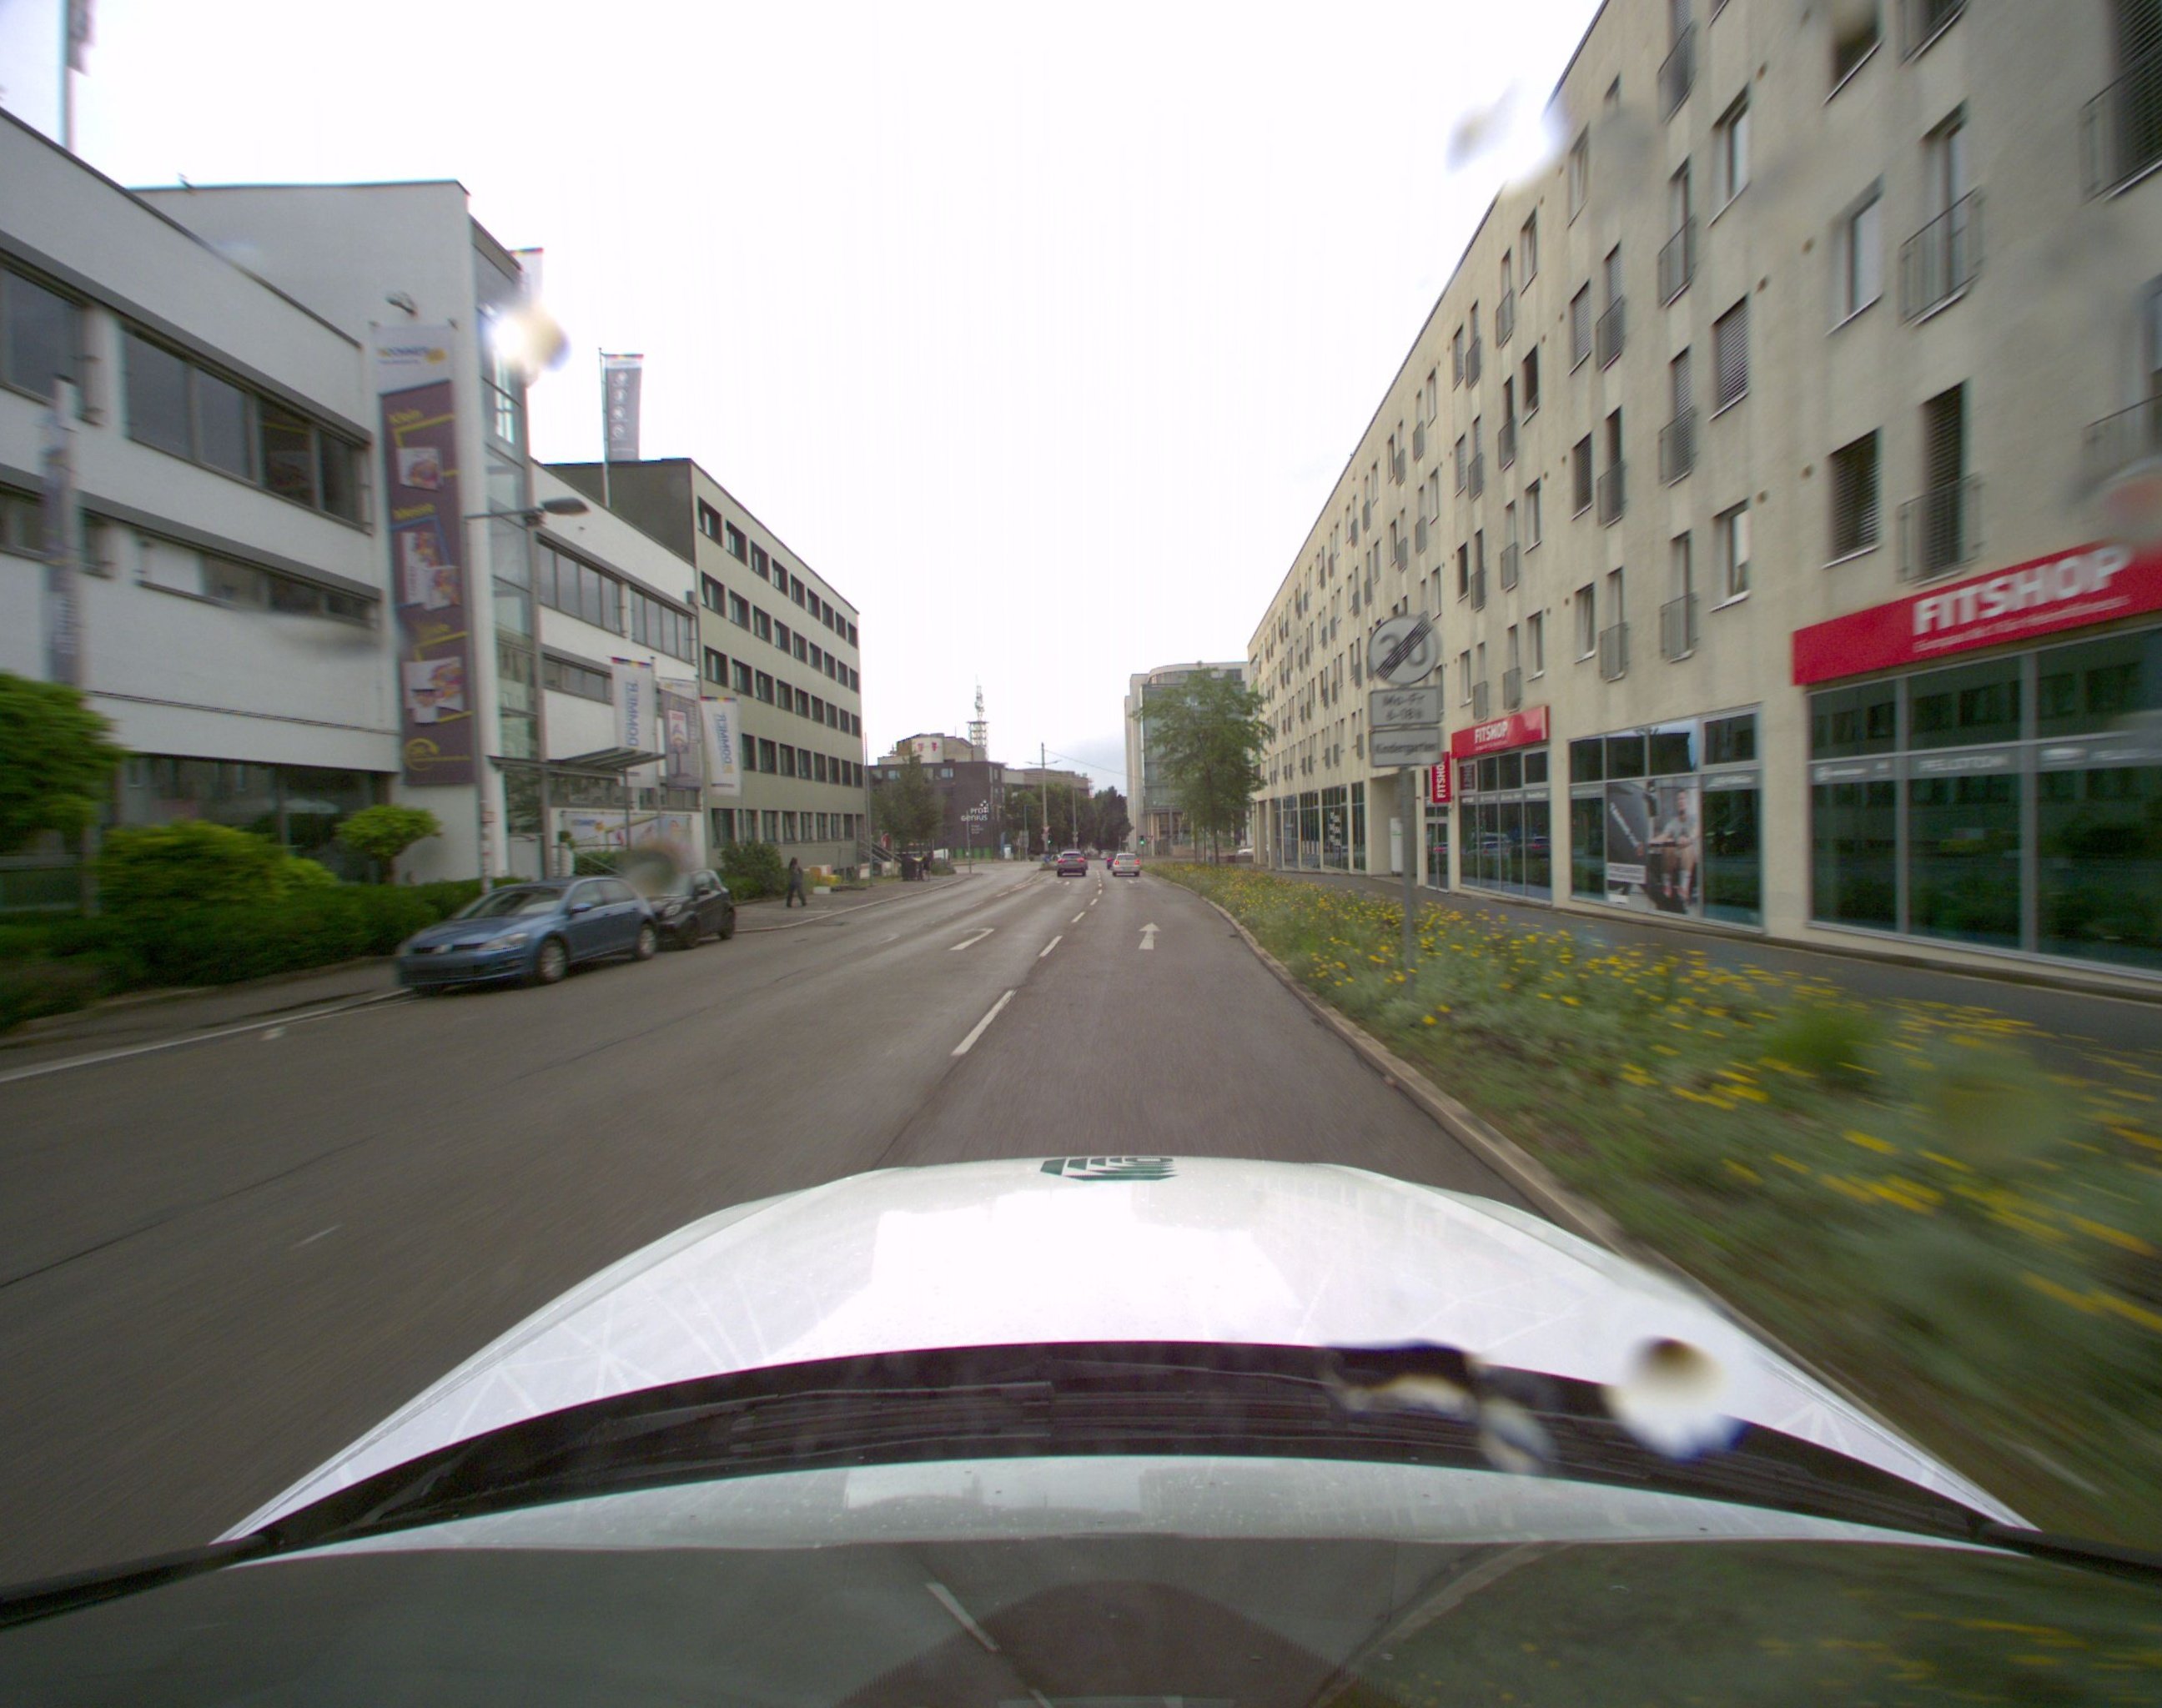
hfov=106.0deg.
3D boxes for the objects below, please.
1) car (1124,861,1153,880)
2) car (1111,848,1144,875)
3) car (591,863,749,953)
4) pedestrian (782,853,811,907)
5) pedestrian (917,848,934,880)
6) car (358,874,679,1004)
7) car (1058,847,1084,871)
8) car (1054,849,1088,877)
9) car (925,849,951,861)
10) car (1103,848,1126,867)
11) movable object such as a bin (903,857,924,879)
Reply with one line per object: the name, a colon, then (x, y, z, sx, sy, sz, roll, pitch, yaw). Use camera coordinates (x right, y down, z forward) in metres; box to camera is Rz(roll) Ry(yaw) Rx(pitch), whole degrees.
car: (4.728, 1.326, 67.391, 1.987, 1.508, 3.998, -1, 0, -1)
car: (3.039, 0.473, 52.477, 1.984, 1.577, 4.001, -2, 1, 4)
car: (-8.182, 1.012, 16.515, 1.559, 1.514, 3.169, -3, 0, -1)
pedestrian: (-9.331, 0.858, 26.695, 0.732, 1.708, 0.895, -2, -1, -27)
pedestrian: (-9.673, 0.637, 50.571, 0.960, 1.955, 0.775, -1, -1, -12)
car: (-8.007, 1.102, 12.227, 1.909, 1.481, 4.352, -1, 0, -3)
car: (-0.797, 0.413, 64.995, 1.988, 1.819, 3.997, -1, -1, -2)
car: (-0.644, 0.571, 53.871, 2.134, 1.728, 3.999, -1, -1, 0)
car: (-25.147, 0.128, 143.084, 3.959, 2.014, 2.007, -1, -1, 13)
car: (3.146, 0.308, 76.447, 1.987, 1.750, 3.672, -2, 0, 0)
movable object such as a bin: (-10.465, 0.874, 50.941, 1.206, 1.321, 0.871, -2, 0, -12)
